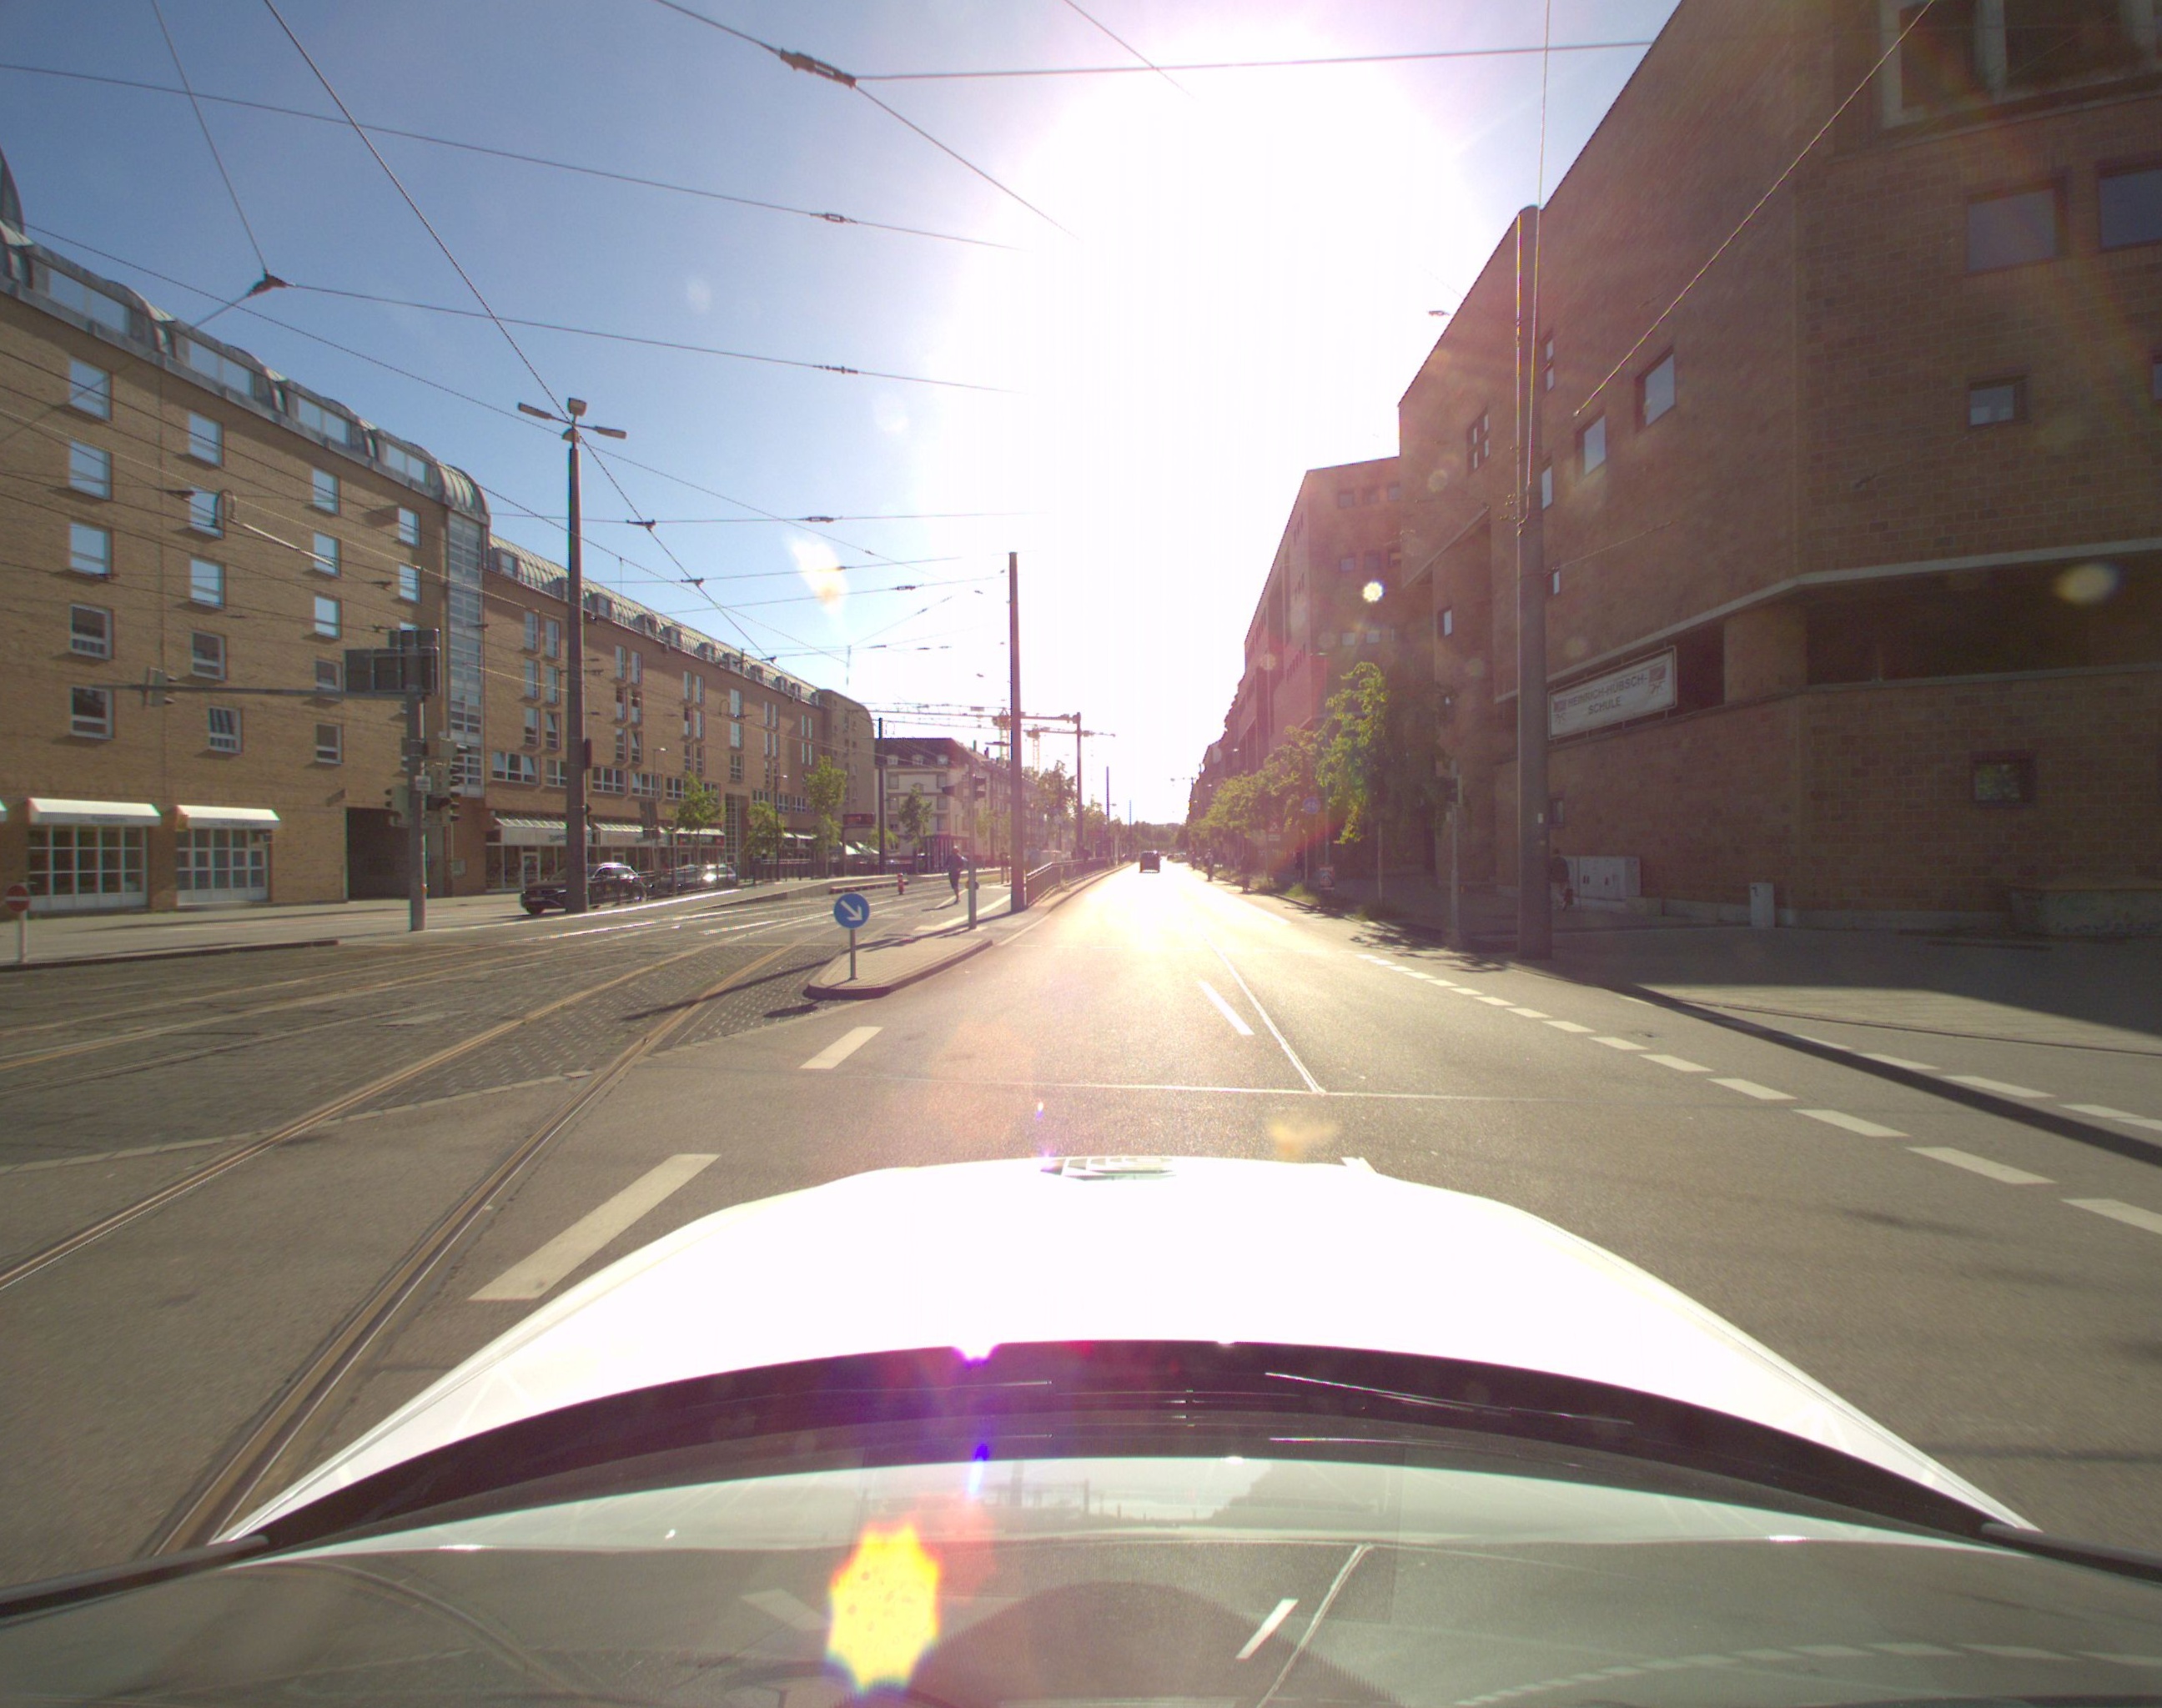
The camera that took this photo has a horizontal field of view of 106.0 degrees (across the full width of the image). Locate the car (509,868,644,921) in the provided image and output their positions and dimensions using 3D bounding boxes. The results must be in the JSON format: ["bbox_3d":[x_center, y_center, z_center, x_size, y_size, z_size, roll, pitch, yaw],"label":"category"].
[{"bbox_3d":[-16.370,1.267,26.665,1.602,1.398,3.925,-5,0,5],"label":"car"}]

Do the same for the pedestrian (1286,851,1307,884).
[{"bbox_3d":[11.475,0.709,43.335,0.876,1.717,0.932,-1,-1,3],"label":"pedestrian"}]

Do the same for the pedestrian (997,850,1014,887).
[{"bbox_3d":[-3.231,0.612,34.855,0.598,1.566,0.914,-1,-1,3],"label":"pedestrian"}]

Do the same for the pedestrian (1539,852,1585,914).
[{"bbox_3d":[12.440,0.744,21.086,0.615,1.563,0.987,-1,-1,2],"label":"pedestrian"}]

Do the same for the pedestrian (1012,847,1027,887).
[{"bbox_3d":[-2.576,0.549,34.313,0.508,1.655,0.762,-1,-1,3],"label":"pedestrian"}]

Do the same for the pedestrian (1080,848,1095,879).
[{"bbox_3d":[0.361,0.547,46.169,0.717,1.735,0.599,-1,-1,-14],"label":"pedestrian"}]

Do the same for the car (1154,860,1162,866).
[{"bbox_3d":[21.562,2.556,228.156,1.984,1.420,4.005,-1,0,5],"label":"car"}]

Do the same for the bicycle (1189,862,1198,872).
[{"bbox_3d":[11.456,1.353,82.930,0.664,0.985,2.588,0,0,3],"label":"bicycle"}]

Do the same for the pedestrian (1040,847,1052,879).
[{"bbox_3d":[-1.842,0.477,43.266,0.536,1.655,0.634,-1,-1,3],"label":"pedestrian"}]

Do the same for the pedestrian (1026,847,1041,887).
[{"bbox_3d":[-2.000,0.546,34.523,0.536,1.655,0.897,-1,-1,3],"label":"pedestrian"}]

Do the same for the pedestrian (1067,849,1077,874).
[{"bbox_3d":[-0.577,0.486,52.822,0.598,1.655,0.667,-1,-1,3],"label":"pedestrian"}]

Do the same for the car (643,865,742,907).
[{"bbox_3d":[-15.707,1.239,33.211,1.602,1.398,4.234,-5,0,5],"label":"car"}]

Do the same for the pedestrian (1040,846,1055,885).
[{"bbox_3d":[-1.422,0.482,34.815,0.536,1.655,0.707,-1,-1,3],"label":"pedestrian"}]

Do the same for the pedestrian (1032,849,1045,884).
[{"bbox_3d":[-1.894,0.553,36.328,0.516,1.551,0.601,-1,-1,0],"label":"pedestrian"}]

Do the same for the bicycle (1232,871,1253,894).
[{"bbox_3d":[7.415,1.302,37.425,0.600,0.985,2.316,0,0,3],"label":"bicycle"}]

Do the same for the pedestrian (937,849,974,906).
[{"bbox_3d":[-3.874,0.721,25.141,0.608,1.669,0.870,-3,0,32],"label":"pedestrian"}]

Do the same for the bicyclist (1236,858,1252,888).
[{"bbox_3d":[7.381,0.848,36.873,0.590,1.335,0.934,0,-1,3],"label":"bicyclist"}]

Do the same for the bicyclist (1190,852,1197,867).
[{"bbox_3d":[11.450,0.572,83.037,0.664,1.527,0.707,0,-1,3],"label":"bicyclist"}]

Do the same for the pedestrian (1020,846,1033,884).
[{"bbox_3d":[-2.594,0.523,38.944,0.536,1.773,0.634,-1,-1,3],"label":"pedestrian"}]

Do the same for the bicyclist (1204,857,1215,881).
[{"bbox_3d":[8.203,0.957,52.028,0.664,1.527,0.707,0,-1,3],"label":"bicyclist"}]

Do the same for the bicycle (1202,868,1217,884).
[{"bbox_3d":[8.220,1.402,52.163,0.664,0.985,2.588,0,0,3],"label":"bicycle"}]

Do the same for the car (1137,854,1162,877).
[{"bbox_3d":[5.980,1.020,71.502,1.985,1.948,4.003,-1,0,3],"label":"car"}]

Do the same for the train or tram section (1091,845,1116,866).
[{"bbox_3d":[3.625,0.219,127.578,2.313,3.003,13.189,1,0,8],"label":"train or tram section"}]
